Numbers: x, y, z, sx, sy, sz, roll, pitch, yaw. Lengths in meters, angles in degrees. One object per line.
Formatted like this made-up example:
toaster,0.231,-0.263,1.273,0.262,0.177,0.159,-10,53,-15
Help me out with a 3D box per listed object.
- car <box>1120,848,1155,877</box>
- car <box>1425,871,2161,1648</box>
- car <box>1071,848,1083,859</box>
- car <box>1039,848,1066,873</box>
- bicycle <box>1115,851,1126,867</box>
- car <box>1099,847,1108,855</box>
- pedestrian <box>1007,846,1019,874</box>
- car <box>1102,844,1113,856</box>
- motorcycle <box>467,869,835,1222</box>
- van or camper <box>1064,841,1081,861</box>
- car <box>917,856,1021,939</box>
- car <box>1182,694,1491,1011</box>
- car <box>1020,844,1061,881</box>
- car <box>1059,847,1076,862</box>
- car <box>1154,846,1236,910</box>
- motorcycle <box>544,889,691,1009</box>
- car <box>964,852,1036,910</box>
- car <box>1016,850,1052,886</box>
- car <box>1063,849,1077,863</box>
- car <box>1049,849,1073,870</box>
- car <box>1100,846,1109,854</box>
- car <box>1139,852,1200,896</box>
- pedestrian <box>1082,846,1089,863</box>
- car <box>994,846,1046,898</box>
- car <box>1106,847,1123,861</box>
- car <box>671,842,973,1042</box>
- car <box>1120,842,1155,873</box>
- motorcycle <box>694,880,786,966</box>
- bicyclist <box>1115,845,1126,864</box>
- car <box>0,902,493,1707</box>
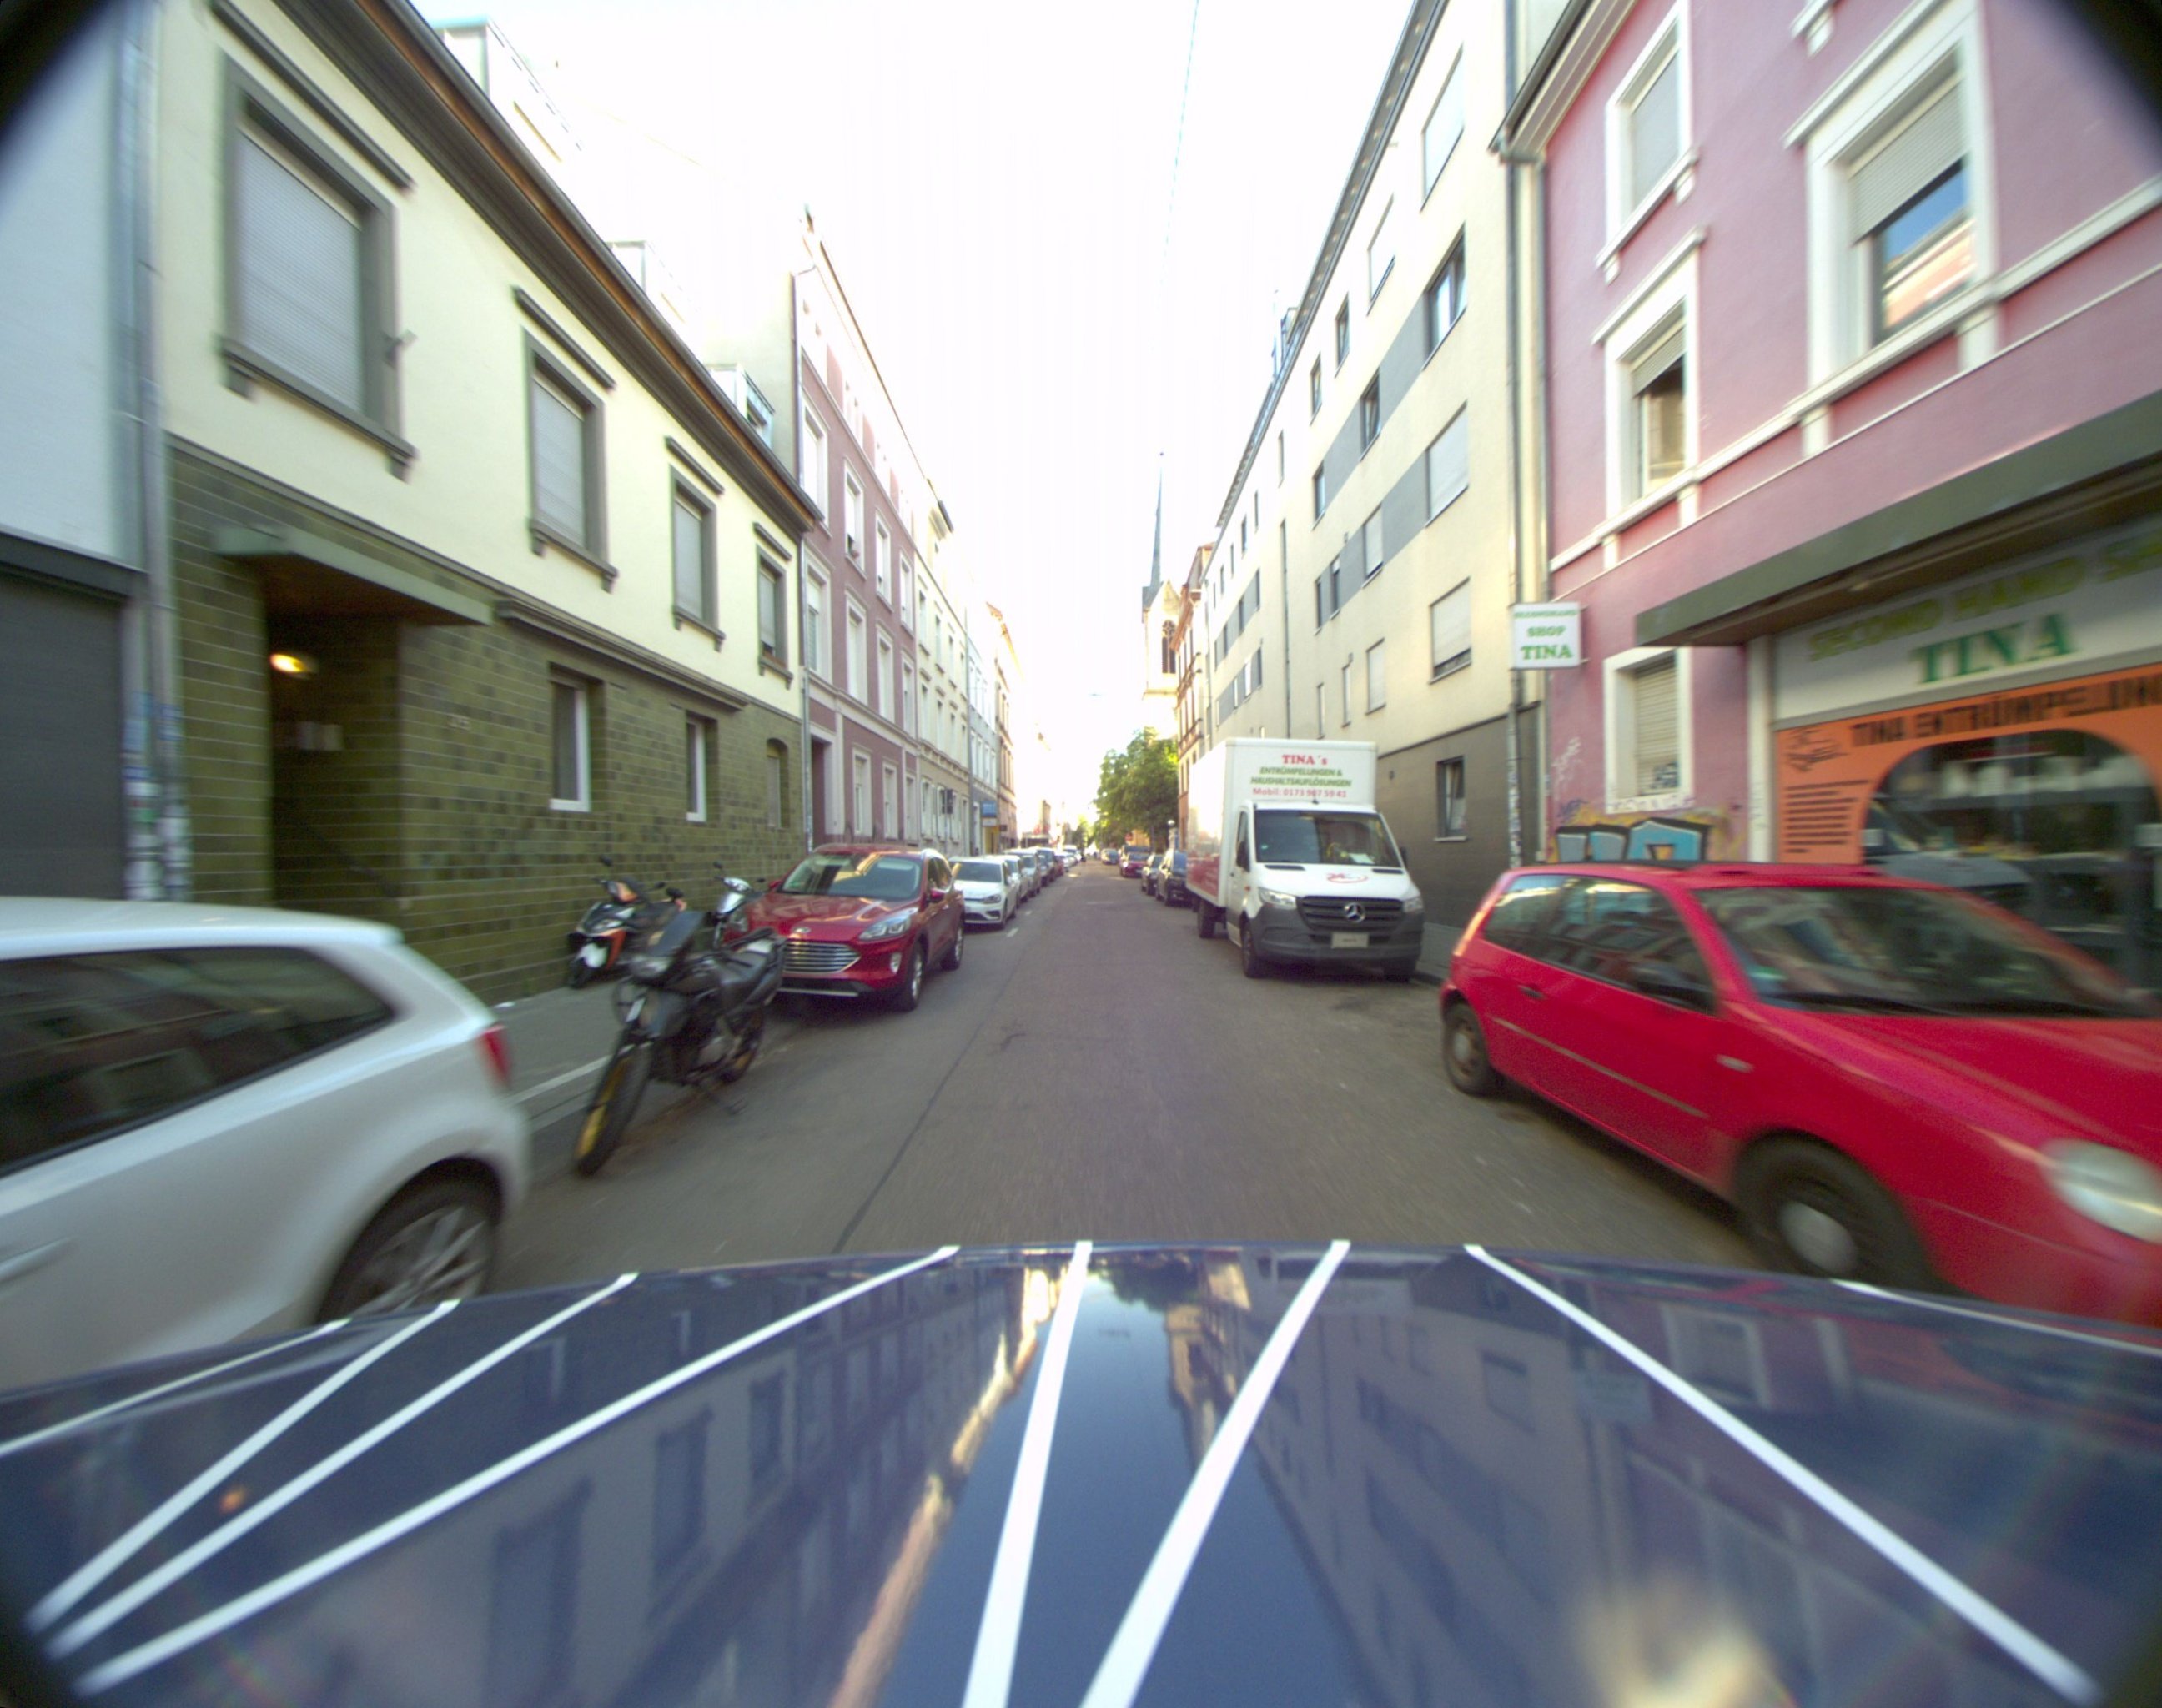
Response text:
car,3.234,0.447,43.857,1.755,1.513,3.868,2,1,1
car,3.054,0.886,3.208,1.582,1.475,3.564,0,1,0
car,-0.632,-0.121,120.923,1.696,1.615,3.963,-2,1,1
car,-1.933,0.436,51.939,1.610,1.563,3.553,-2,1,1
bicycle,3.357,0.415,64.579,0.979,1.307,2.555,0,1,3
car,4.715,-0.678,160.414,1.777,1.614,4.022,-2,1,0
pedestrian,-4.338,0.357,48.484,0.630,1.731,0.658,-3,2,-12
car,4.556,-0.700,131.778,1.777,2.128,4.022,-2,1,1
motorcycle,-2.322,0.891,4.629,0.749,1.481,2.421,-2,1,1
van or camper,-1.141,-0.477,106.390,1.998,2.617,5.978,-2,1,1
car,-2.353,0.856,16.867,1.690,1.535,4.045,0,1,0
car,3.115,-0.080,11.458,2.349,3.273,7.153,1,1,1
car,-2.150,0.401,41.371,1.904,1.783,4.314,-2,1,0
car,-1.454,0.033,81.254,1.694,1.454,3.639,-3,1,-2
car,3.172,0.634,21.926,1.721,1.641,4.245,1,0,0
motorcycle,-5.169,1.009,8.622,0.502,1.089,1.878,1,1,0
car,-2.398,0.746,23.474,1.701,1.535,4.628,0,1,0
car,-2.192,0.621,36.210,1.556,1.502,3.610,-3,1,-2
car,-1.279,0.225,90.107,1.558,1.518,4.200,-2,1,1
car,-1.646,0.432,61.708,1.791,1.507,4.135,-3,1,-1
car,5.071,-0.947,166.259,1.777,1.614,4.022,-2,1,0
car,3.152,0.678,27.860,1.721,1.470,4.499,1,0,0
pedestrian,0.514,0.064,85.246,0.718,1.863,0.720,-2,2,0
car,-2.189,0.615,28.046,1.560,1.702,3.558,-2,1,0
car,3.929,-0.013,88.977,1.798,1.543,3.833,-2,1,1
car,-2.552,0.744,8.777,1.923,1.696,4.365,-1,1,0
car,3.623,0.193,49.568,2.025,1.868,5.297,-2,0,2
motorcycle,-5.073,0.987,11.423,0.560,1.089,1.776,1,1,0
bicyclist,3.363,0.045,64.729,0.952,1.618,0.953,1,1,3
car,-2.926,0.969,0.738,1.671,1.496,3.816,1,1,2
